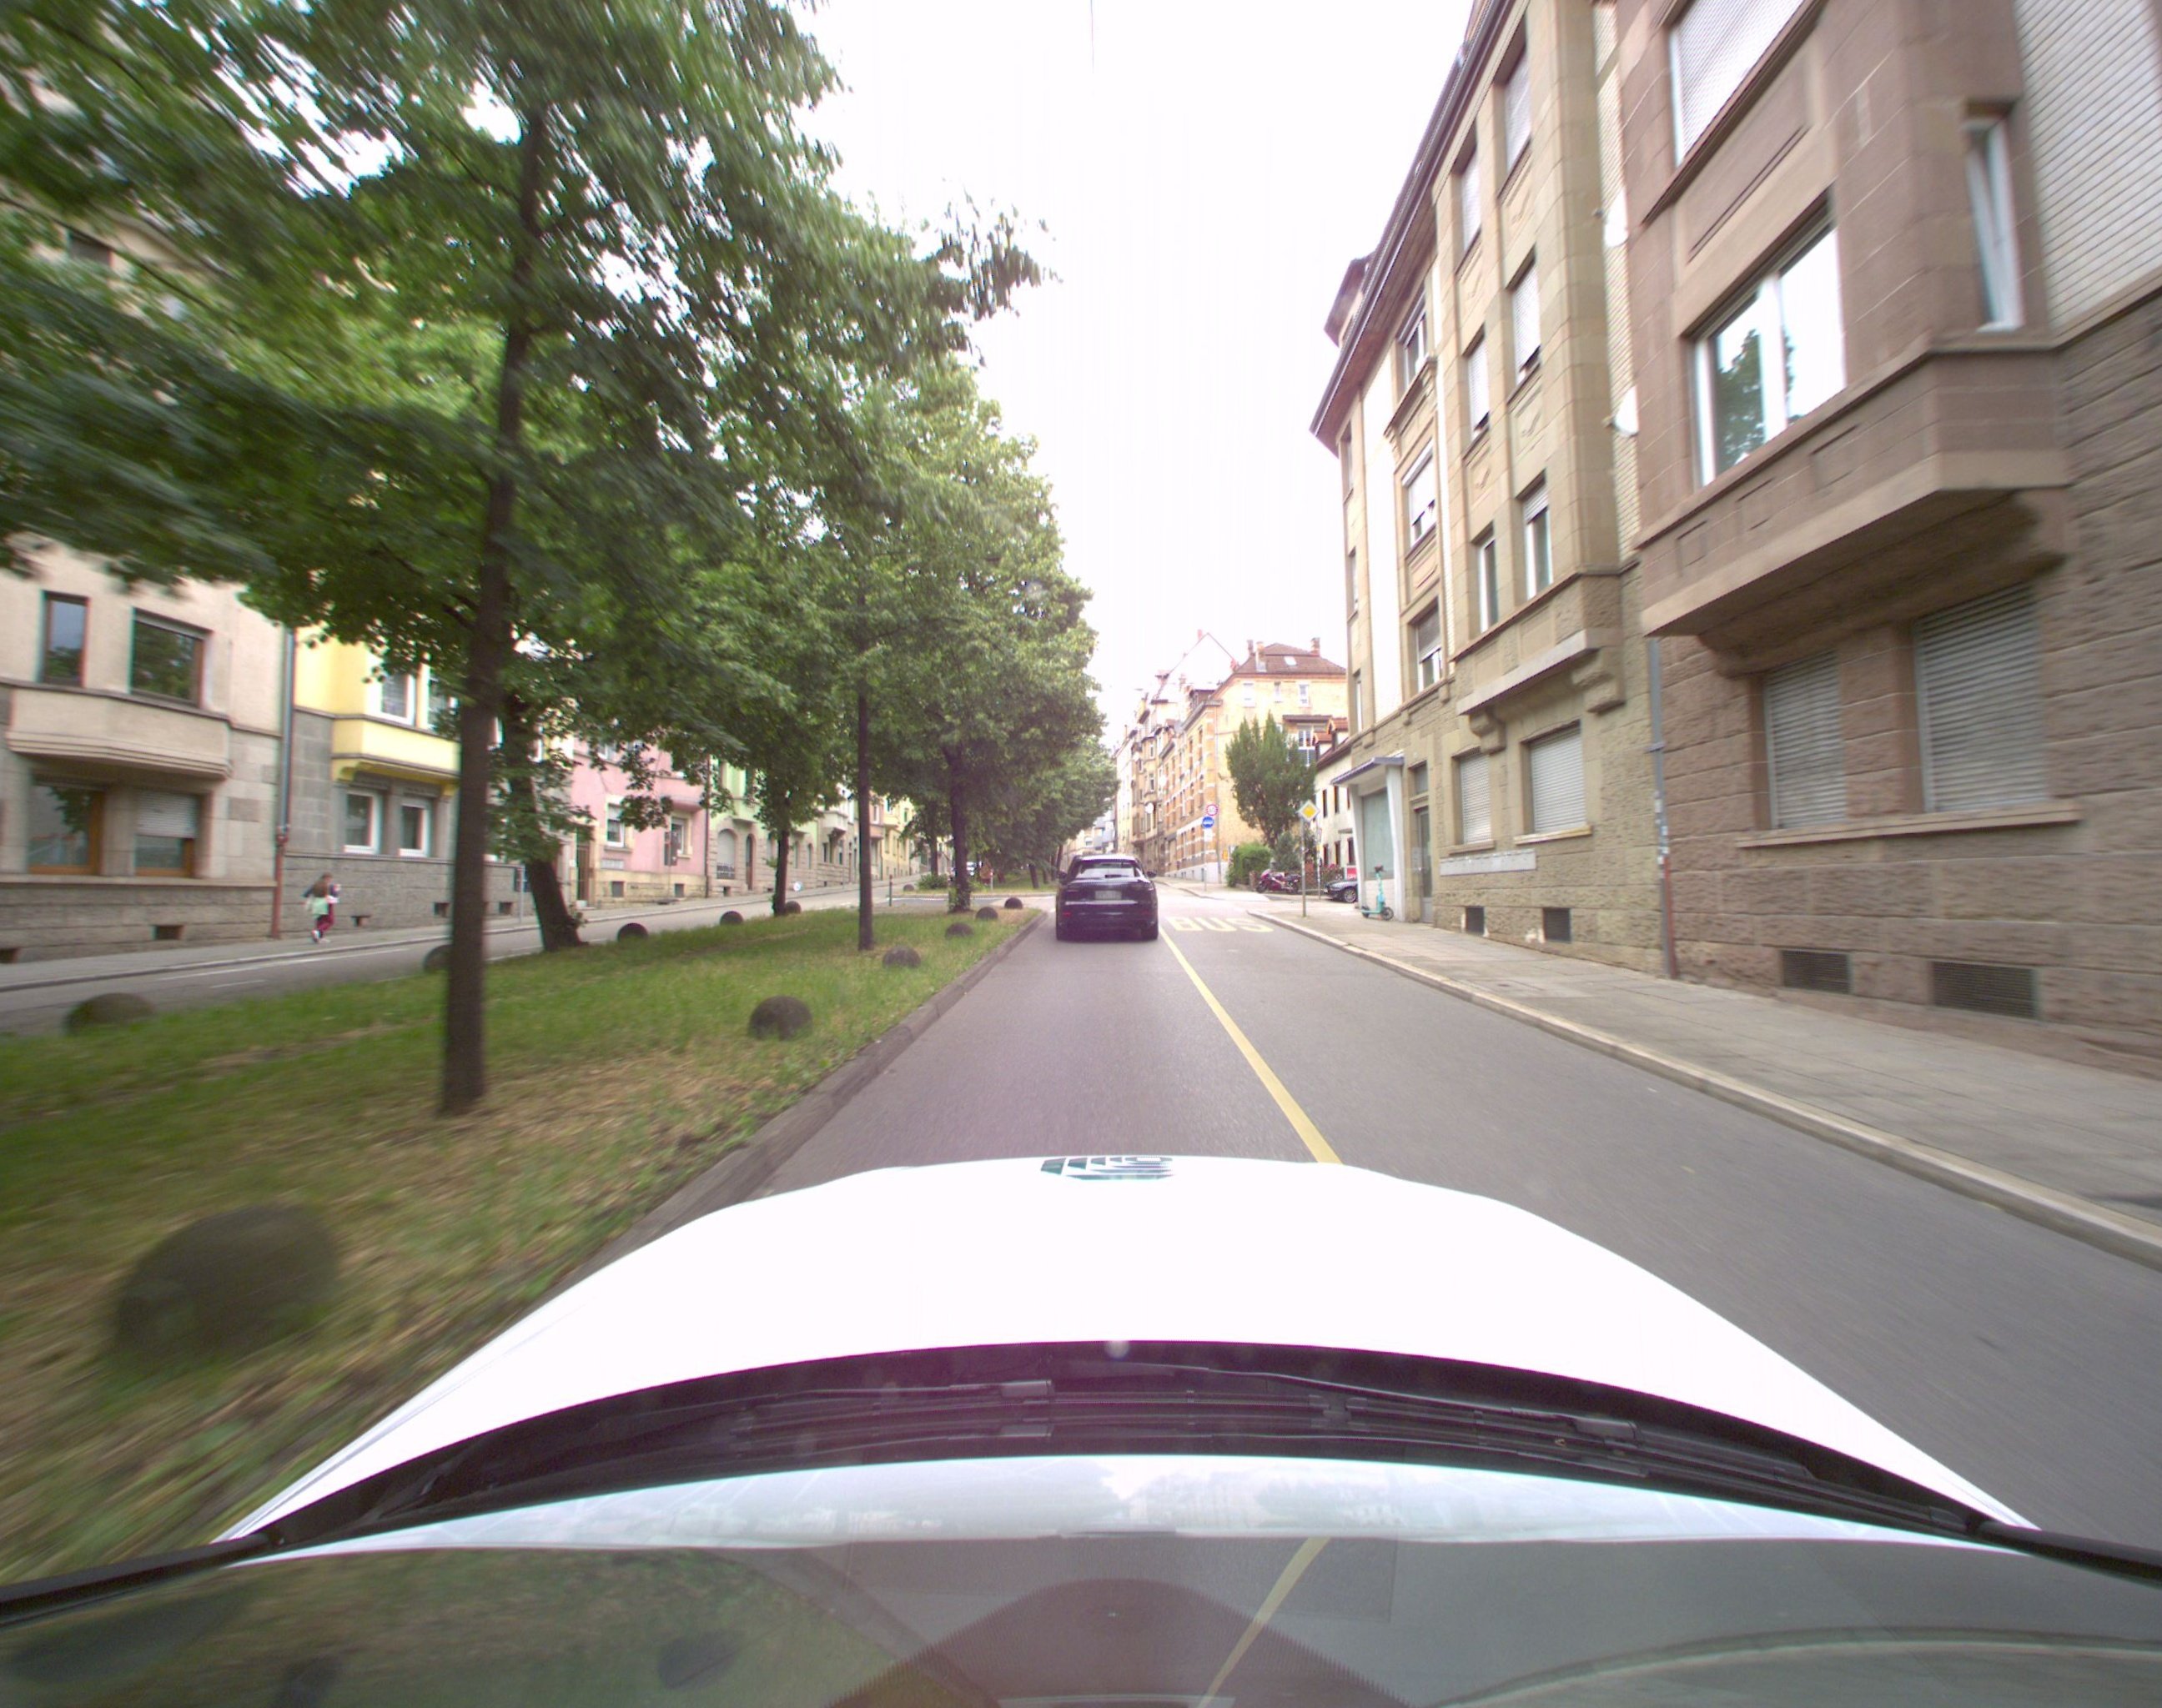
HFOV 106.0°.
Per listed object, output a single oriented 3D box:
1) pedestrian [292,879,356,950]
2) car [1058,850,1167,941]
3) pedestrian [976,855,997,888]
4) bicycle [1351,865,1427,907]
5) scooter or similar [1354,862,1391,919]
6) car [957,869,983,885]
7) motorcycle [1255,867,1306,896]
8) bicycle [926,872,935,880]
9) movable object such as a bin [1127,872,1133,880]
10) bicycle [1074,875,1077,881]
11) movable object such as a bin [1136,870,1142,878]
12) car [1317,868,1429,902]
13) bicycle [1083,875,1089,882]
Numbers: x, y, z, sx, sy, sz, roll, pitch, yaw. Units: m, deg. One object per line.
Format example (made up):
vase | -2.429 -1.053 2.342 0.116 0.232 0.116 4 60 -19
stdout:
pedestrian | -16.278 1.287 17.523 0.696 1.460 0.704 0 -1 2
car | 0.567 0.779 16.840 1.987 1.665 3.999 0 -1 0
pedestrian | -5.133 0.979 44.232 0.830 1.712 1.123 -4 -3 1
bicycle | 9.385 1.009 24.892 0.645 1.140 2.049 5 -9 -42
scooter or similar | 6.717 0.815 18.777 0.408 1.210 1.146 -3 2 1
car | -10.767 2.255 79.214 1.702 1.382 4.671 -3 0 2
motorcycle | 9.058 1.234 37.082 2.050 1.268 1.009 1 -1 -3
bicycle | -22.014 3.282 119.320 0.766 1.085 2.018 2 -4 -27
movable object such as a bin | 5.844 2.630 96.677 0.593 0.904 0.502 0 -6 -4
bicycle | -1.077 4.735 158.878 0.446 1.037 2.242 -1 -4 -7
movable object such as a bin | 6.250 2.191 88.234 0.593 0.904 0.562 0 -2 -4
car | 12.271 1.291 34.419 4.112 1.285 1.782 0 2 -1
bicycle | 0.870 4.424 147.900 0.878 1.129 2.972 0 -3 -6
